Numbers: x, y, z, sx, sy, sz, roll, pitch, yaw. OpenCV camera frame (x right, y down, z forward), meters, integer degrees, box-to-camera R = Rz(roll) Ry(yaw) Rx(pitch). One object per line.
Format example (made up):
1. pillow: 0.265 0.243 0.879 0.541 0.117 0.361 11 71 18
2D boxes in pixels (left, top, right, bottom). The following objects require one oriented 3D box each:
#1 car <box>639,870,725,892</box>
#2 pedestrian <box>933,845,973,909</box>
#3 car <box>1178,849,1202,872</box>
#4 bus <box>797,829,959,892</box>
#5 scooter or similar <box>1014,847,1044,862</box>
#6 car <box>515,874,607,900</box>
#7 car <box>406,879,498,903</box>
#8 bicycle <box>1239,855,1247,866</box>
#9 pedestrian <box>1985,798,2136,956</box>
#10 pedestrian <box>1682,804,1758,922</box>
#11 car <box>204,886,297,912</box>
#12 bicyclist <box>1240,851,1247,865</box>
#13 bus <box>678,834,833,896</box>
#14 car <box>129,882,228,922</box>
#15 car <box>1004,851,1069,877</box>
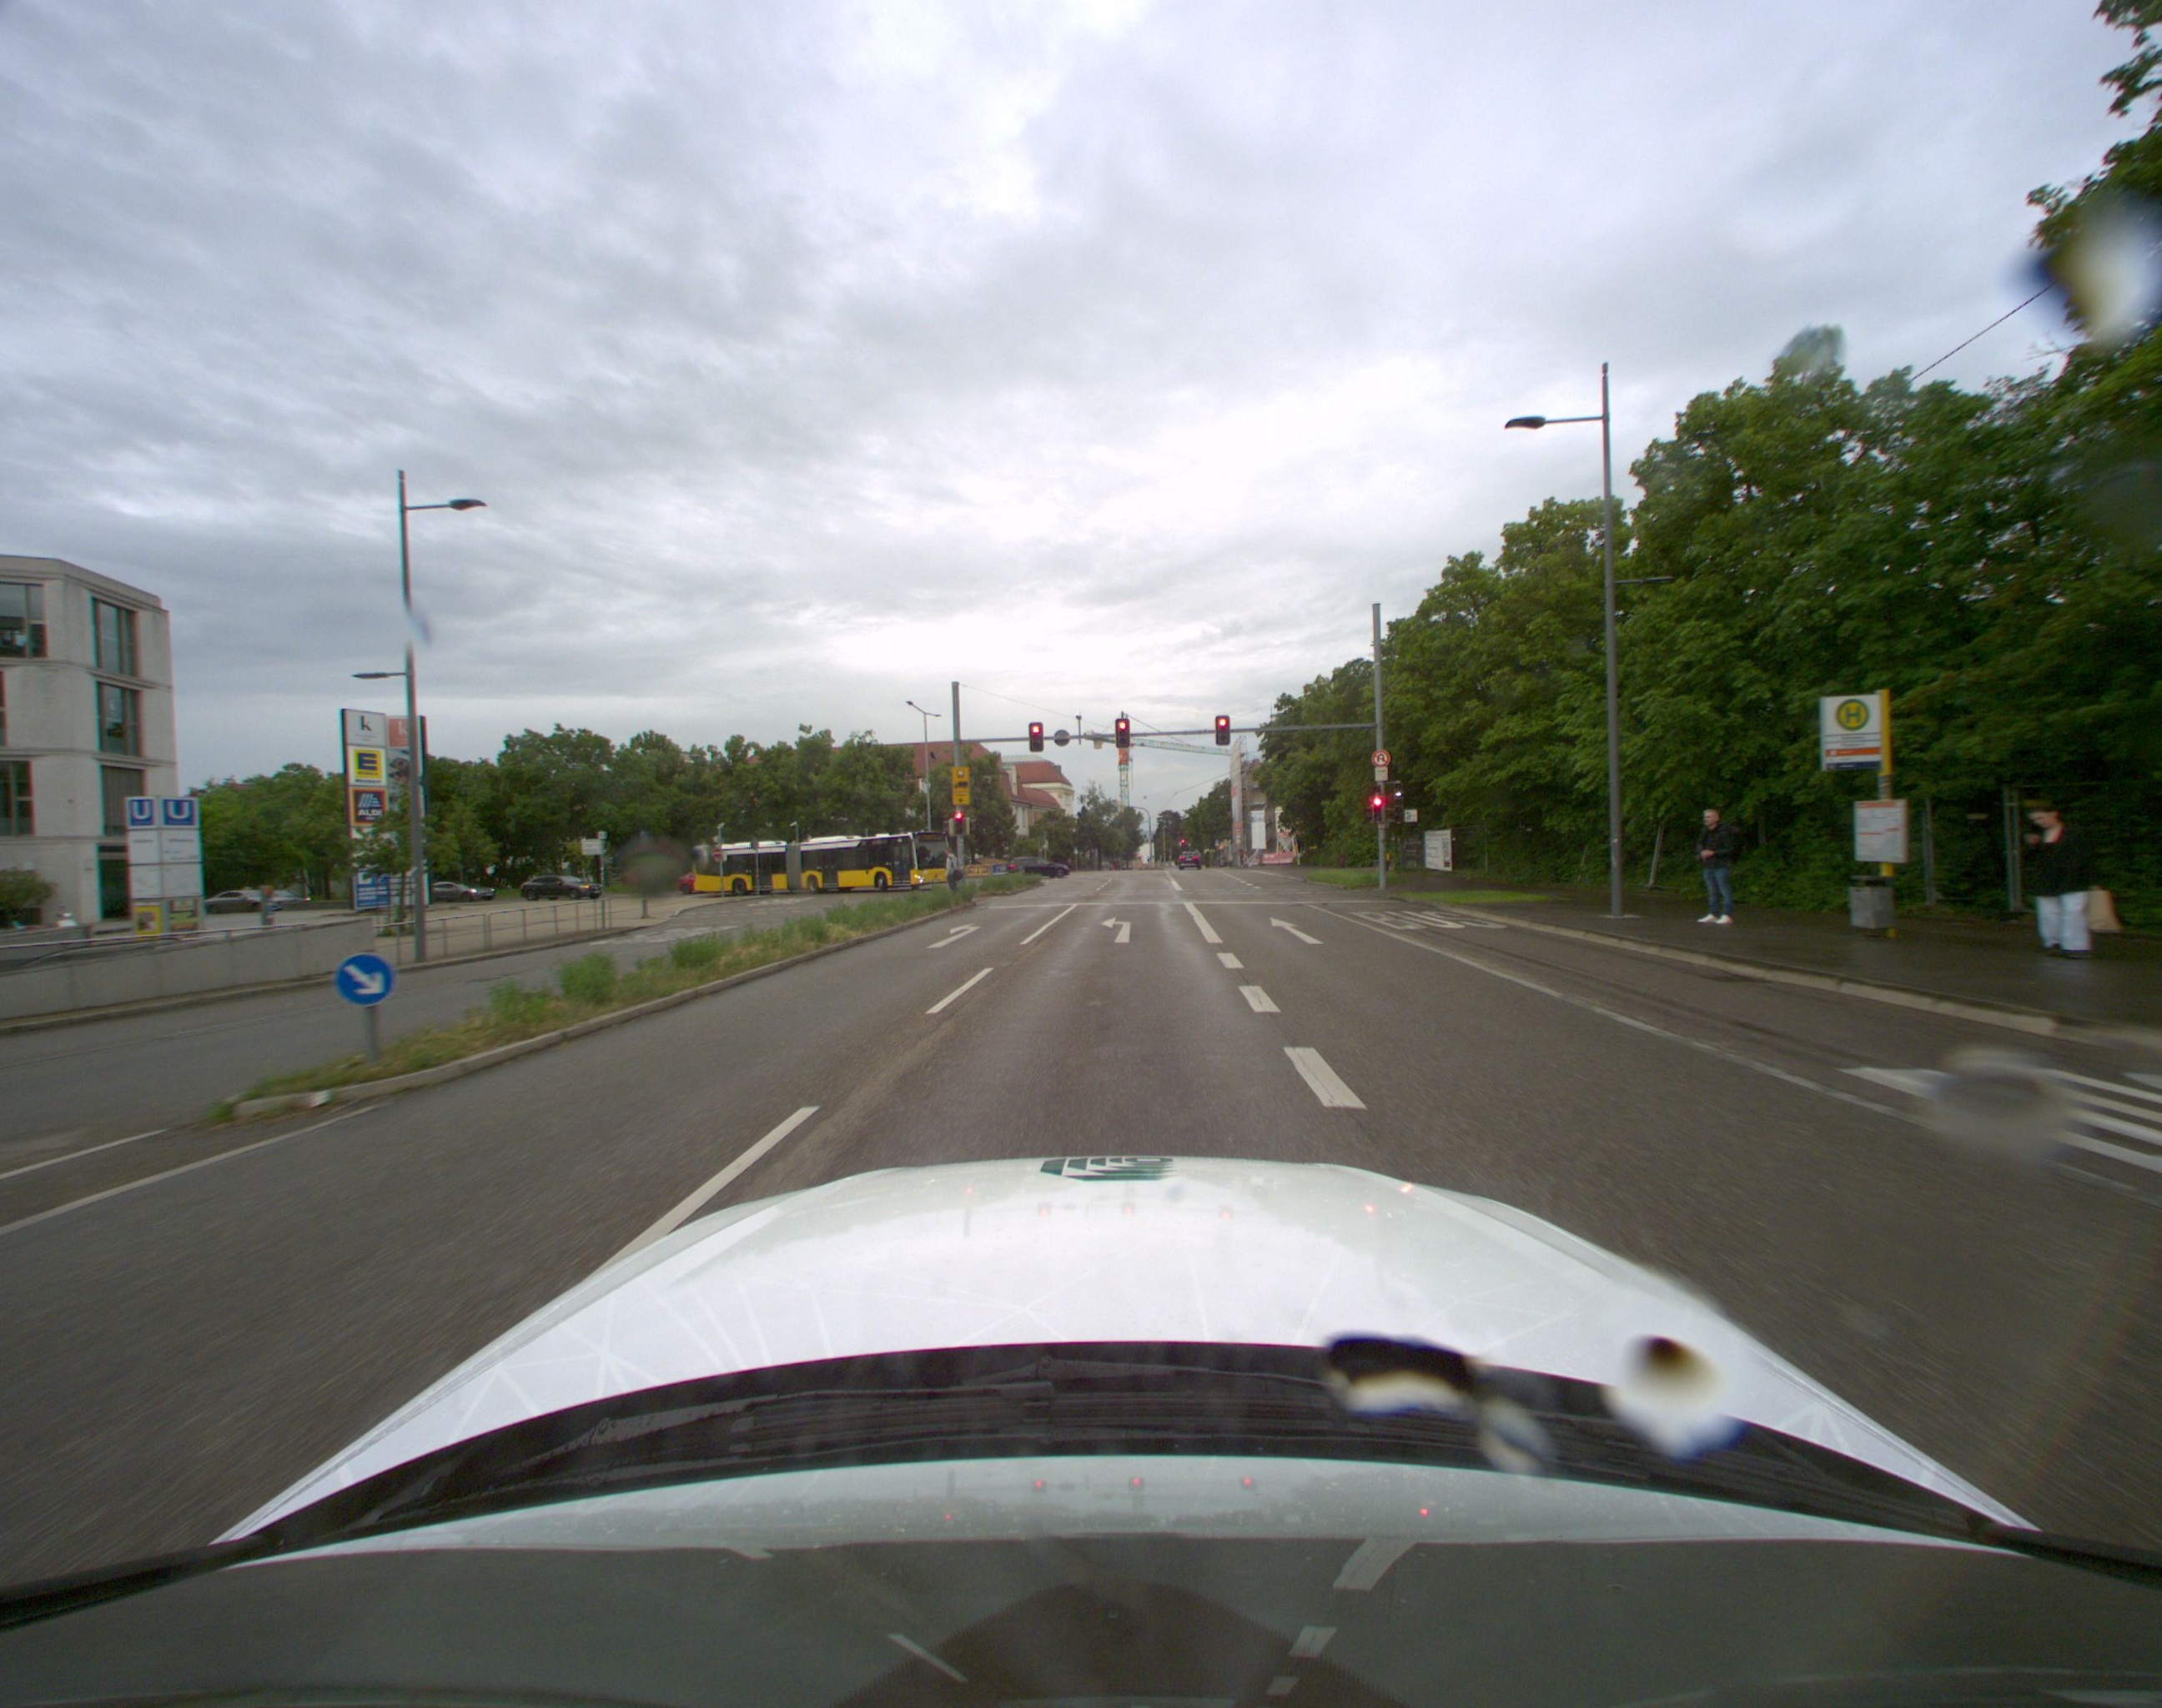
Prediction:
1. car: -25.911 1.741 52.990 4.552 1.425 2.002 0 -2 4
2. pedestrian: -4.239 0.753 27.096 0.934 2.013 0.849 -5 -1 10
3. car: 9.932 0.643 74.687 1.935 2.021 4.556 0 -2 5
4. bus: -11.164 0.419 44.140 9.629 3.103 2.916 -2 0 36
5. scooter or similar: -5.547 0.028 87.660 3.075 1.440 0.949 -2 0 3
6. car: -32.200 2.057 50.496 4.427 1.425 2.002 -1 0 3
7. car: -42.342 2.486 54.862 4.842 1.425 1.847 -1 0 3
8. bicycle: 17.879 0.743 89.628 0.717 1.193 1.759 0 -2 7
9. pedestrian: 10.907 0.241 9.095 0.673 1.658 0.793 -2 0 -1
10. pedestrian: 10.709 0.153 13.662 0.638 1.901 0.718 -2 0 -1
11. car: -49.943 2.700 49.007 3.950 1.425 1.670 -1 0 3
12. bicyclist: 17.884 0.434 89.603 0.717 1.564 1.145 0 -2 6
13. bus: -19.434 0.682 48.617 8.480 3.307 2.911 -2 0 17
14. car: -45.182 2.355 40.907 1.781 1.731 3.969 -2 0 -23
15. car: -2.940 0.669 53.575 3.991 1.706 1.991 0 -2 -13
